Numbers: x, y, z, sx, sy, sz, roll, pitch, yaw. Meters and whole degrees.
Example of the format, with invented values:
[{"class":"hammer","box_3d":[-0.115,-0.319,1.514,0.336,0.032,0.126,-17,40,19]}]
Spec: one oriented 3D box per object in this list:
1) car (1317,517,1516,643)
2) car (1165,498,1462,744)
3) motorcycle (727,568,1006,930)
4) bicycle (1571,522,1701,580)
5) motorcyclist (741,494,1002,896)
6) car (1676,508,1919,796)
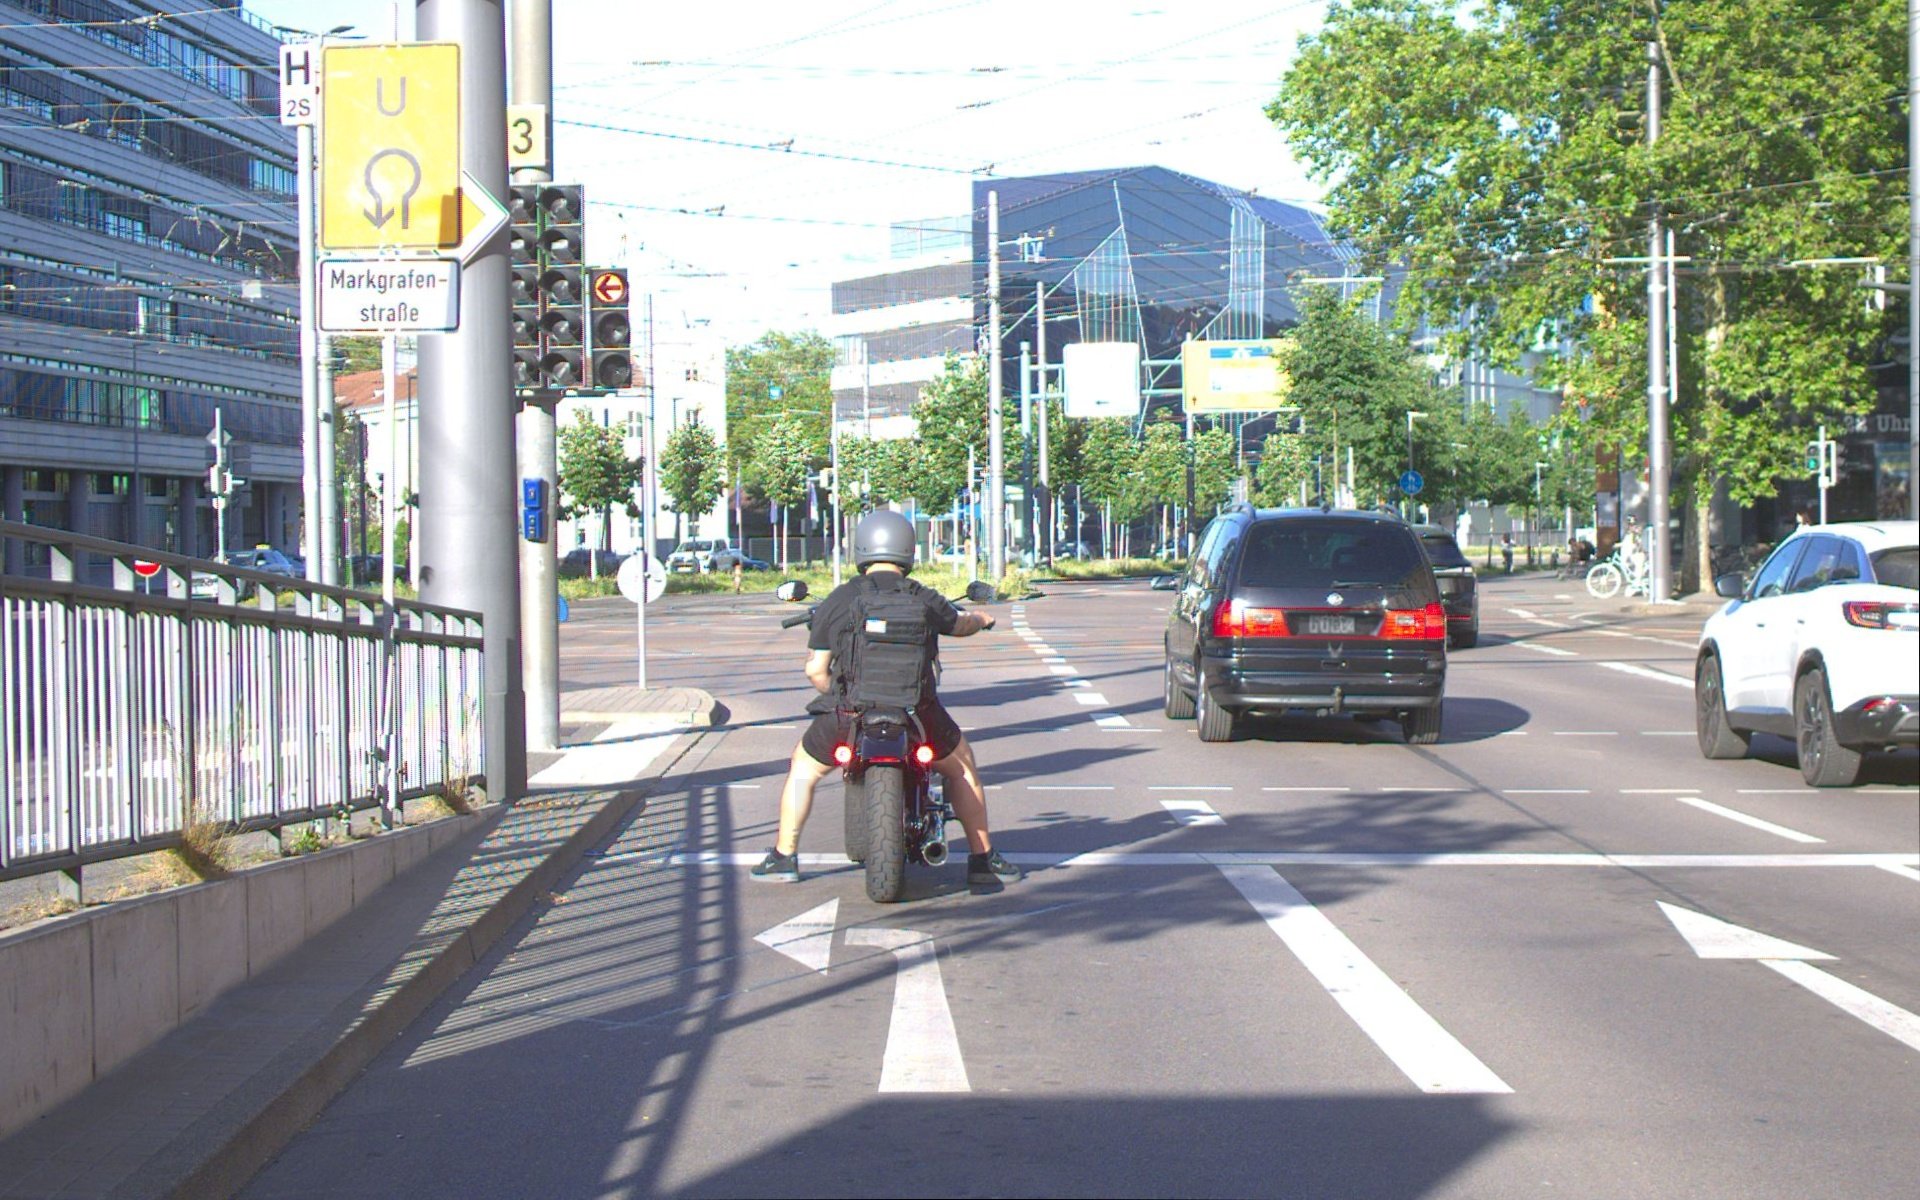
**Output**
[{"class":"car","box_3d":[5.641,-0.287,42.948,1.851,1.492,4.379,0,1,-1]},{"class":"car","box_3d":[2.567,0.108,25.852,1.798,1.699,4.063,0,1,0]},{"class":"motorcycle","box_3d":[-0.356,0.547,14.383,1.019,1.307,2.915,1,1,0]},{"class":"bicycle","box_3d":[14.578,-1.056,74.205,2.693,1.240,0.527,0,1,23]},{"class":"motorcyclist","box_3d":[-0.358,0.373,14.439,1.019,1.598,1.148,1,1,0]},{"class":"car","box_3d":[5.939,0.250,21.742,1.851,1.634,4.379,0,1,-1]}]
